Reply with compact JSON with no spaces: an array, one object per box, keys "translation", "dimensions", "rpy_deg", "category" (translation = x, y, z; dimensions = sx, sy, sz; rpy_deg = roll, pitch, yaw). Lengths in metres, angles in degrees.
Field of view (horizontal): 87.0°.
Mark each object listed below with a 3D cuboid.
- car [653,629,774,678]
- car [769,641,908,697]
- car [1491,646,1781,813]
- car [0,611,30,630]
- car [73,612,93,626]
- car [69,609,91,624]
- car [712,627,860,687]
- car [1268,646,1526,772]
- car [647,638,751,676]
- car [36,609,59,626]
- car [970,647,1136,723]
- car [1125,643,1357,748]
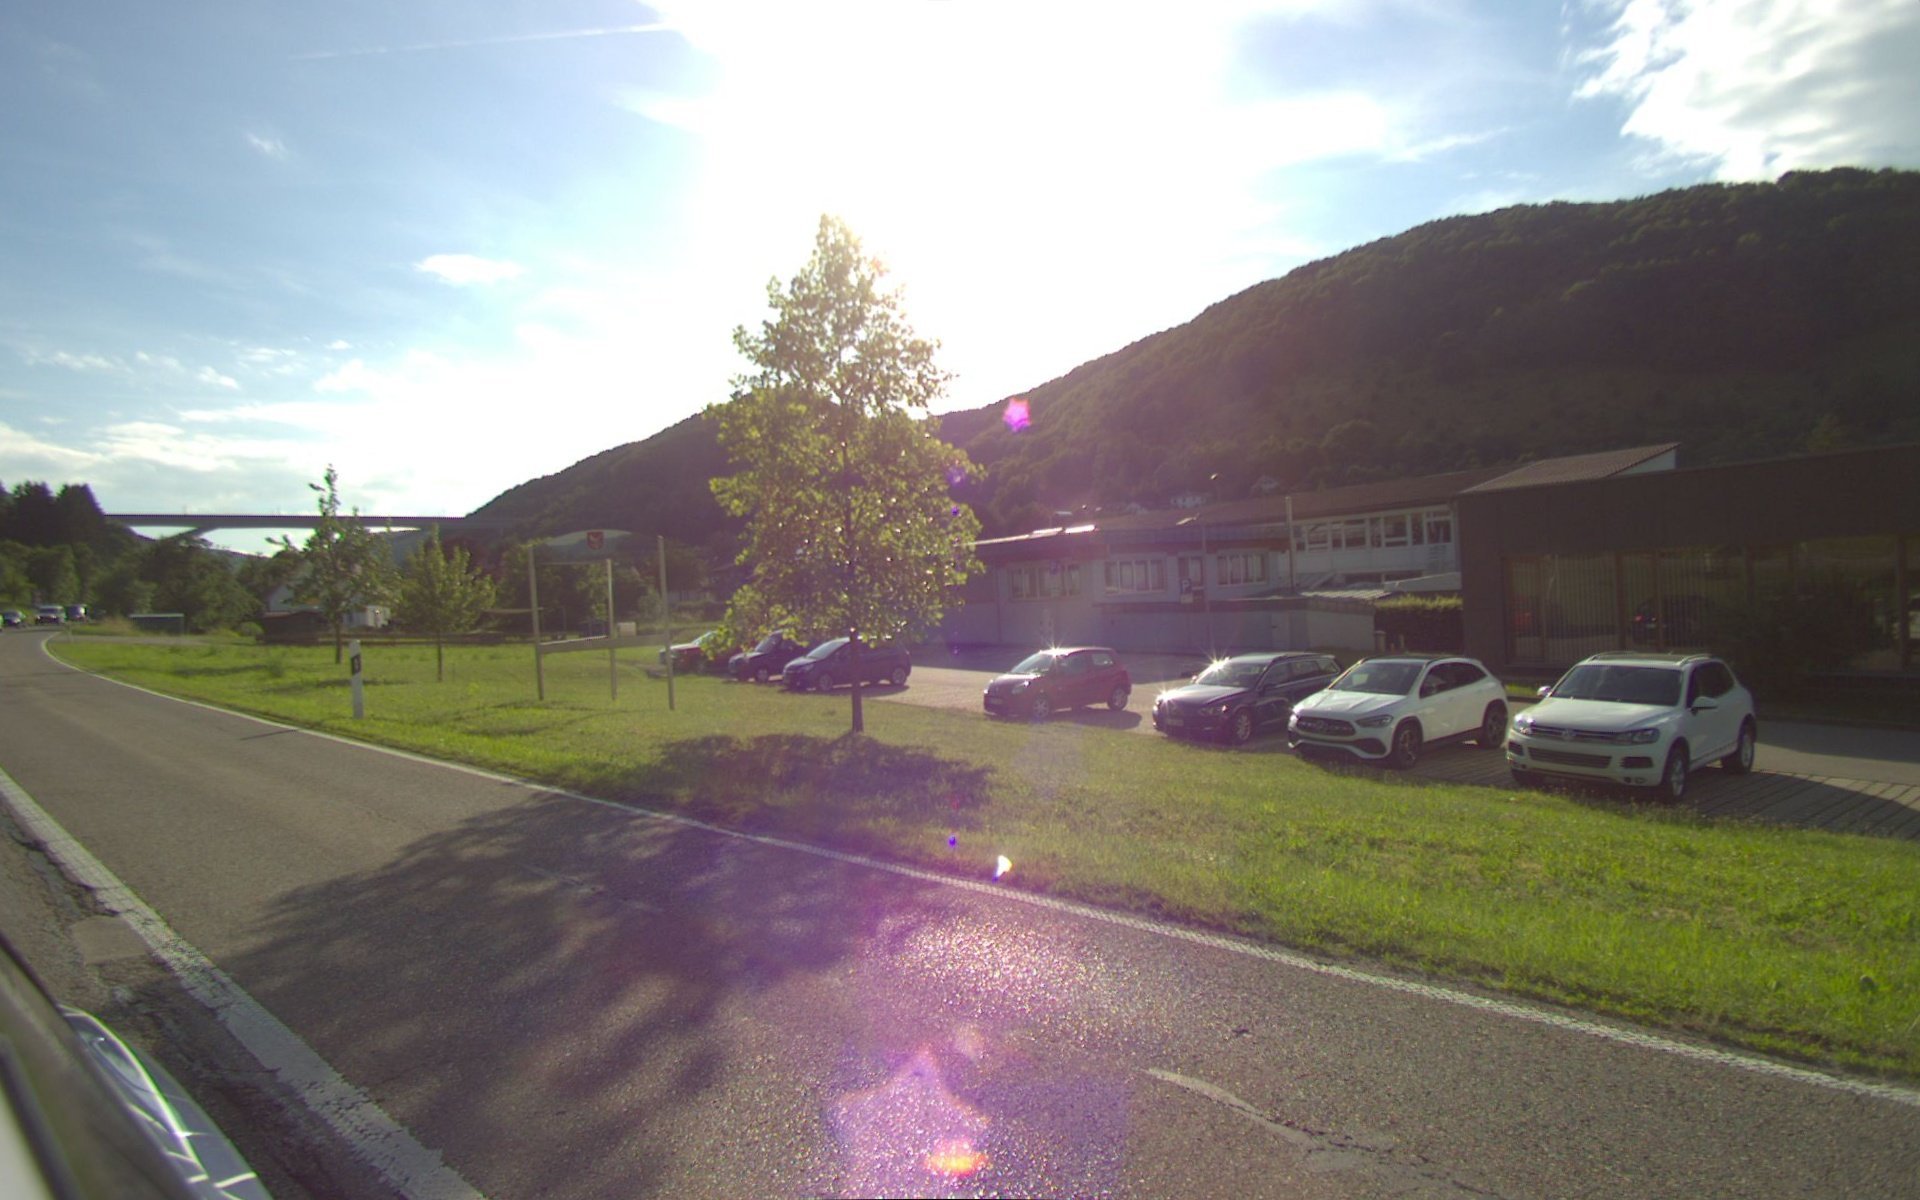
[{"translation":[-9.683,2.059,39.859],"dimensions":[4.262,1.682,1.853],"rpy_deg":[-1,0,-33],"category":"car"},{"translation":[-3.724,2.096,31.423],"dimensions":[3.956,1.463,1.687],"rpy_deg":[-1,-2,-39],"category":"car"},{"translation":[9.478,1.621,14.066],"dimensions":[4.480,1.716,2.004],"rpy_deg":[-1,0,-37],"category":"car"},{"translation":[-77.780,1.658,83.243],"dimensions":[1.605,1.490,3.687],"rpy_deg":[-1,0,-38],"category":"car"},{"translation":[-100.190,2.195,115.642],"dimensions":[1.605,1.490,3.687],"rpy_deg":[-1,0,-38],"category":"car"},{"translation":[-94.671,1.781,108.878],"dimensions":[1.605,1.490,3.687],"rpy_deg":[-1,0,-38],"category":"car"},{"translation":[-6.059,1.950,35.650],"dimensions":[4.928,1.807,1.688],"rpy_deg":[-1,0,-39],"category":"car"},{"translation":[7.344,1.678,16.828],"dimensions":[4.480,1.566,2.004],"rpy_deg":[-1,0,-37],"category":"car"},{"translation":[-10.989,2.362,42.625],"dimensions":[3.835,1.379,1.857],"rpy_deg":[0,0,-36],"category":"car"},{"translation":[-87.794,1.662,97.373],"dimensions":[1.606,1.490,3.684],"rpy_deg":[-1,0,-42],"category":"car"},{"translation":[2.187,1.898,23.279],"dimensions":[3.672,1.408,1.619],"rpy_deg":[-1,0,-37],"category":"car"},{"translation":[5.463,1.718,19.451],"dimensions":[4.480,1.566,2.004],"rpy_deg":[-1,0,-37],"category":"car"}]
